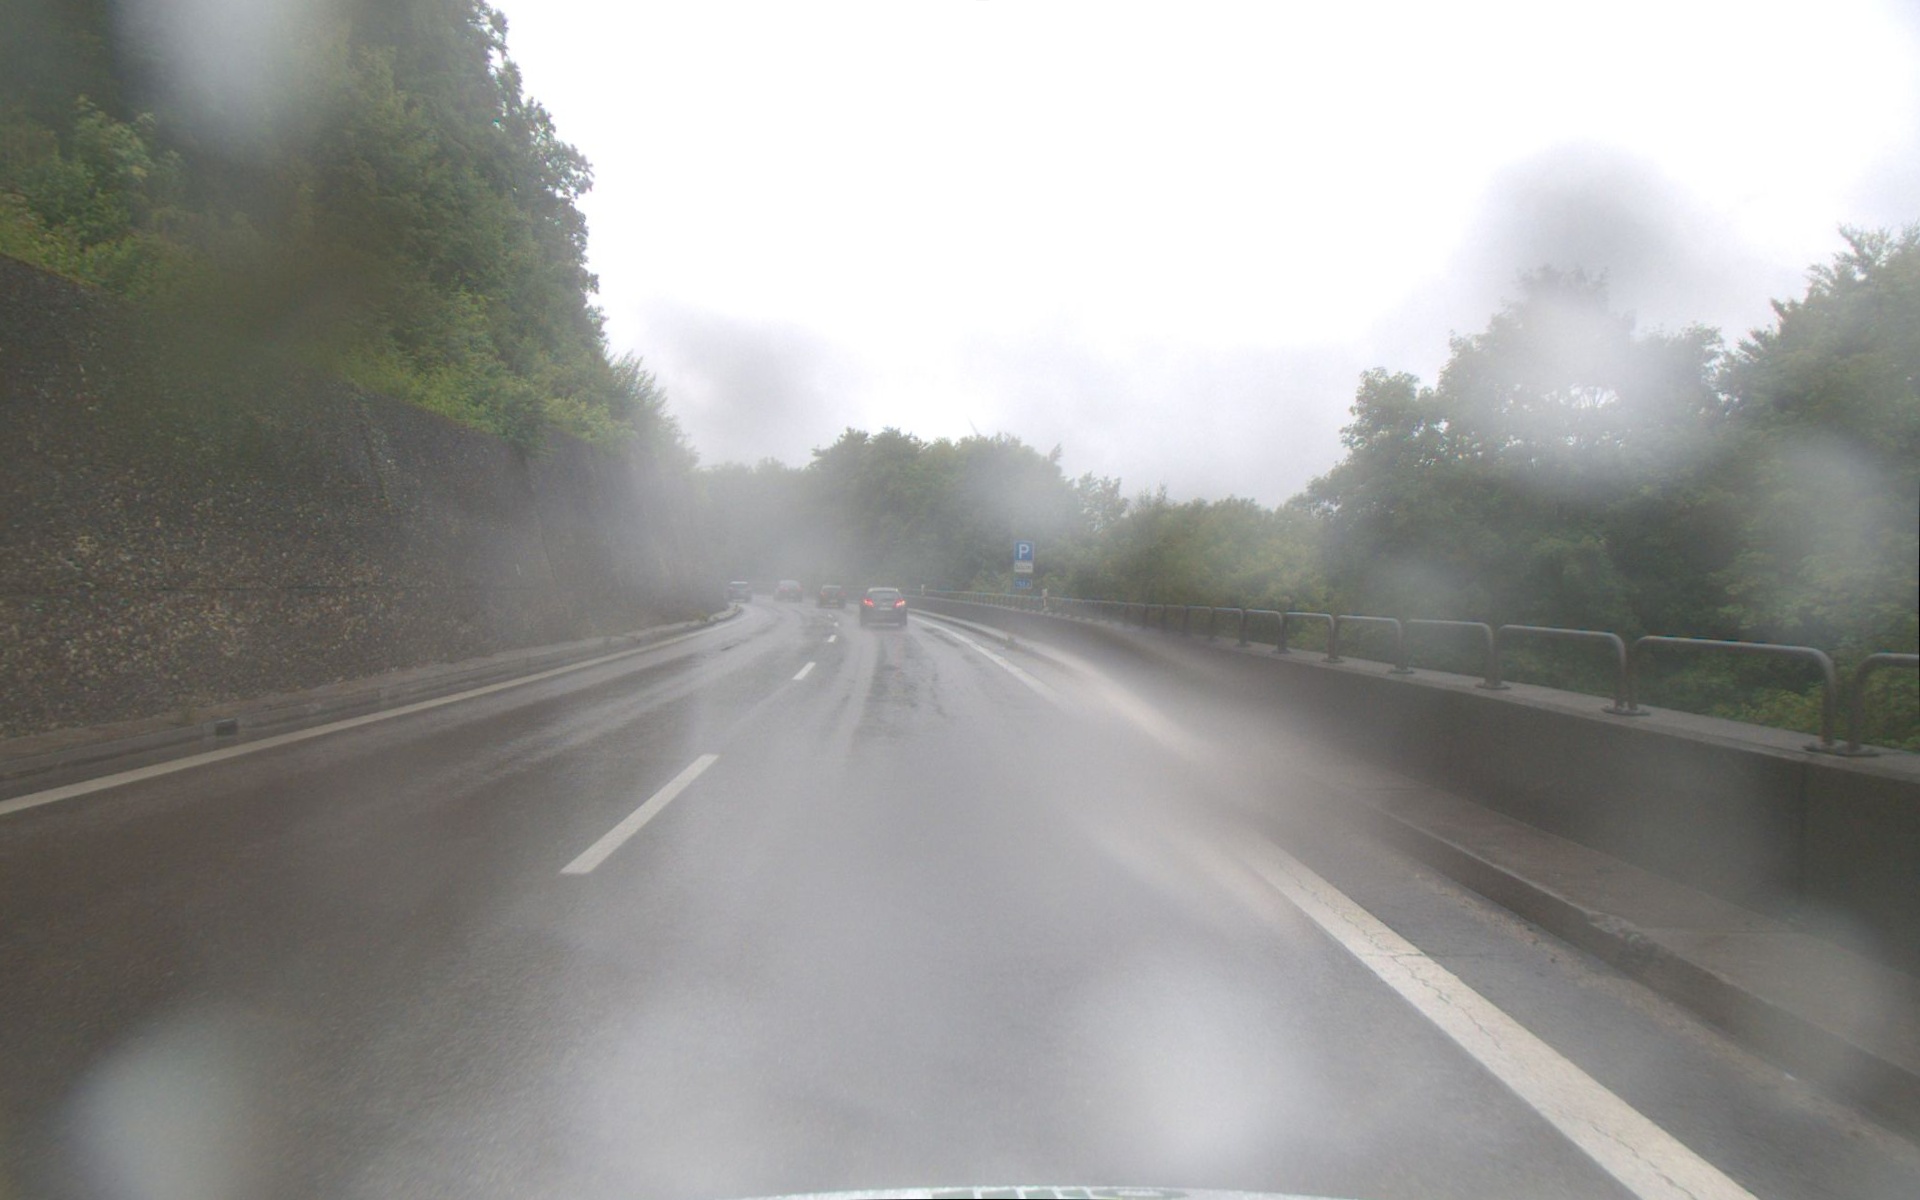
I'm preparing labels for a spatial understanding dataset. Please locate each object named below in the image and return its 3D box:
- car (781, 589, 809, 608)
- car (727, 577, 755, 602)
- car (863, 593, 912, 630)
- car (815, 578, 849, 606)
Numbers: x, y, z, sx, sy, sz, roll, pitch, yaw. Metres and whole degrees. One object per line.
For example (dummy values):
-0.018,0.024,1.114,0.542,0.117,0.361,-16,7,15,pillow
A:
-13.531,-0.158,135.714,1.770,1.492,3.986,0,0,-14,car
-17.736,-0.818,133.894,1.958,1.937,3.990,1,0,-11,car
-2.770,0.407,62.776,1.764,1.330,3.998,0,0,-3,car
-8.431,-0.519,109.048,1.956,1.780,3.992,1,0,-8,car
